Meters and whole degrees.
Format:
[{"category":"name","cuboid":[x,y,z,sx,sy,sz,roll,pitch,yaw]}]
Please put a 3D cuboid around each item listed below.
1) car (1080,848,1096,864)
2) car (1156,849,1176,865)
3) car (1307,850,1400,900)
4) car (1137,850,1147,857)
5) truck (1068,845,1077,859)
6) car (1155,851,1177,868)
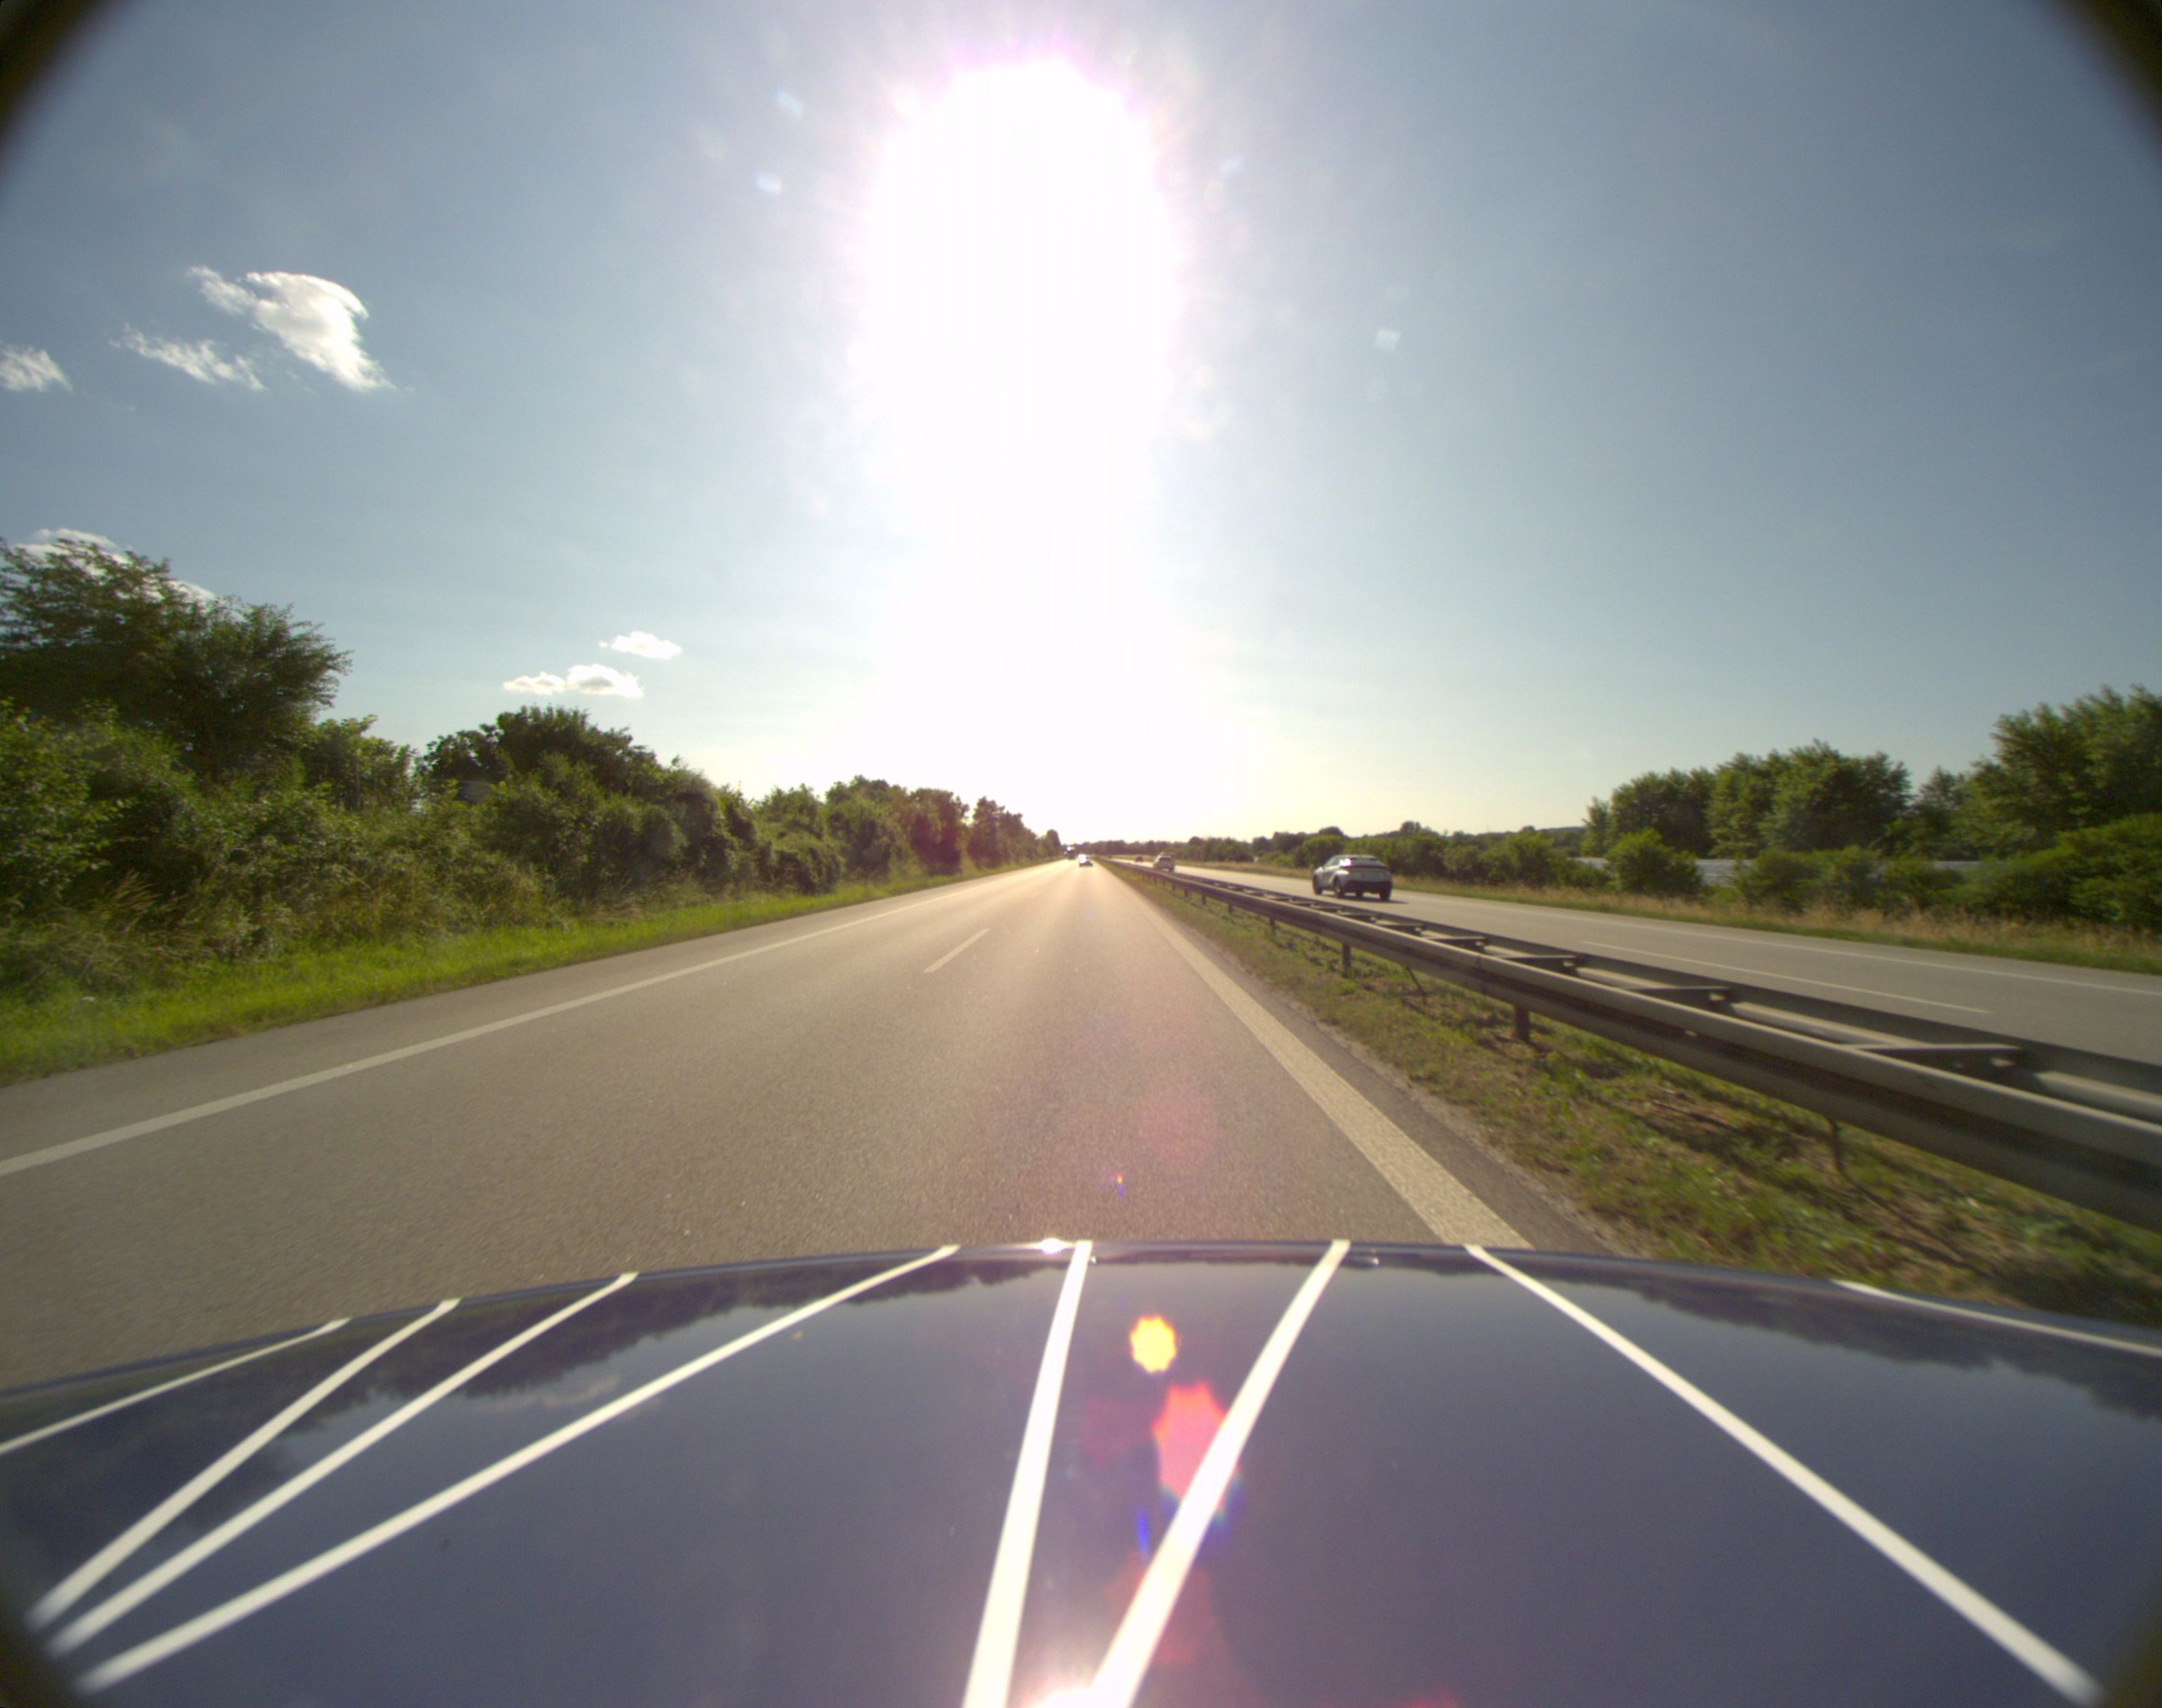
[{"category":"car","cuboid":[0.946,0.232,100.031,1.998,2.002,4.358,-2,1,0]},{"category":"car","cuboid":[9.905,0.311,88.871,1.954,1.761,4.749,2,1,2]},{"category":"car","cuboid":[9.840,0.685,27.829,1.730,1.573,4.767,2,1,1]},{"category":"car","cuboid":[12.833,-0.074,160.461,1.734,1.502,4.479,1,1,2]},{"category":"truck","cuboid":[-2.629,-0.575,240.083,2.759,4.242,8.492,-2,1,0]},{"category":"car","cuboid":[8.180,0.523,73.629,1.771,1.412,4.470,3,1,2]}]
